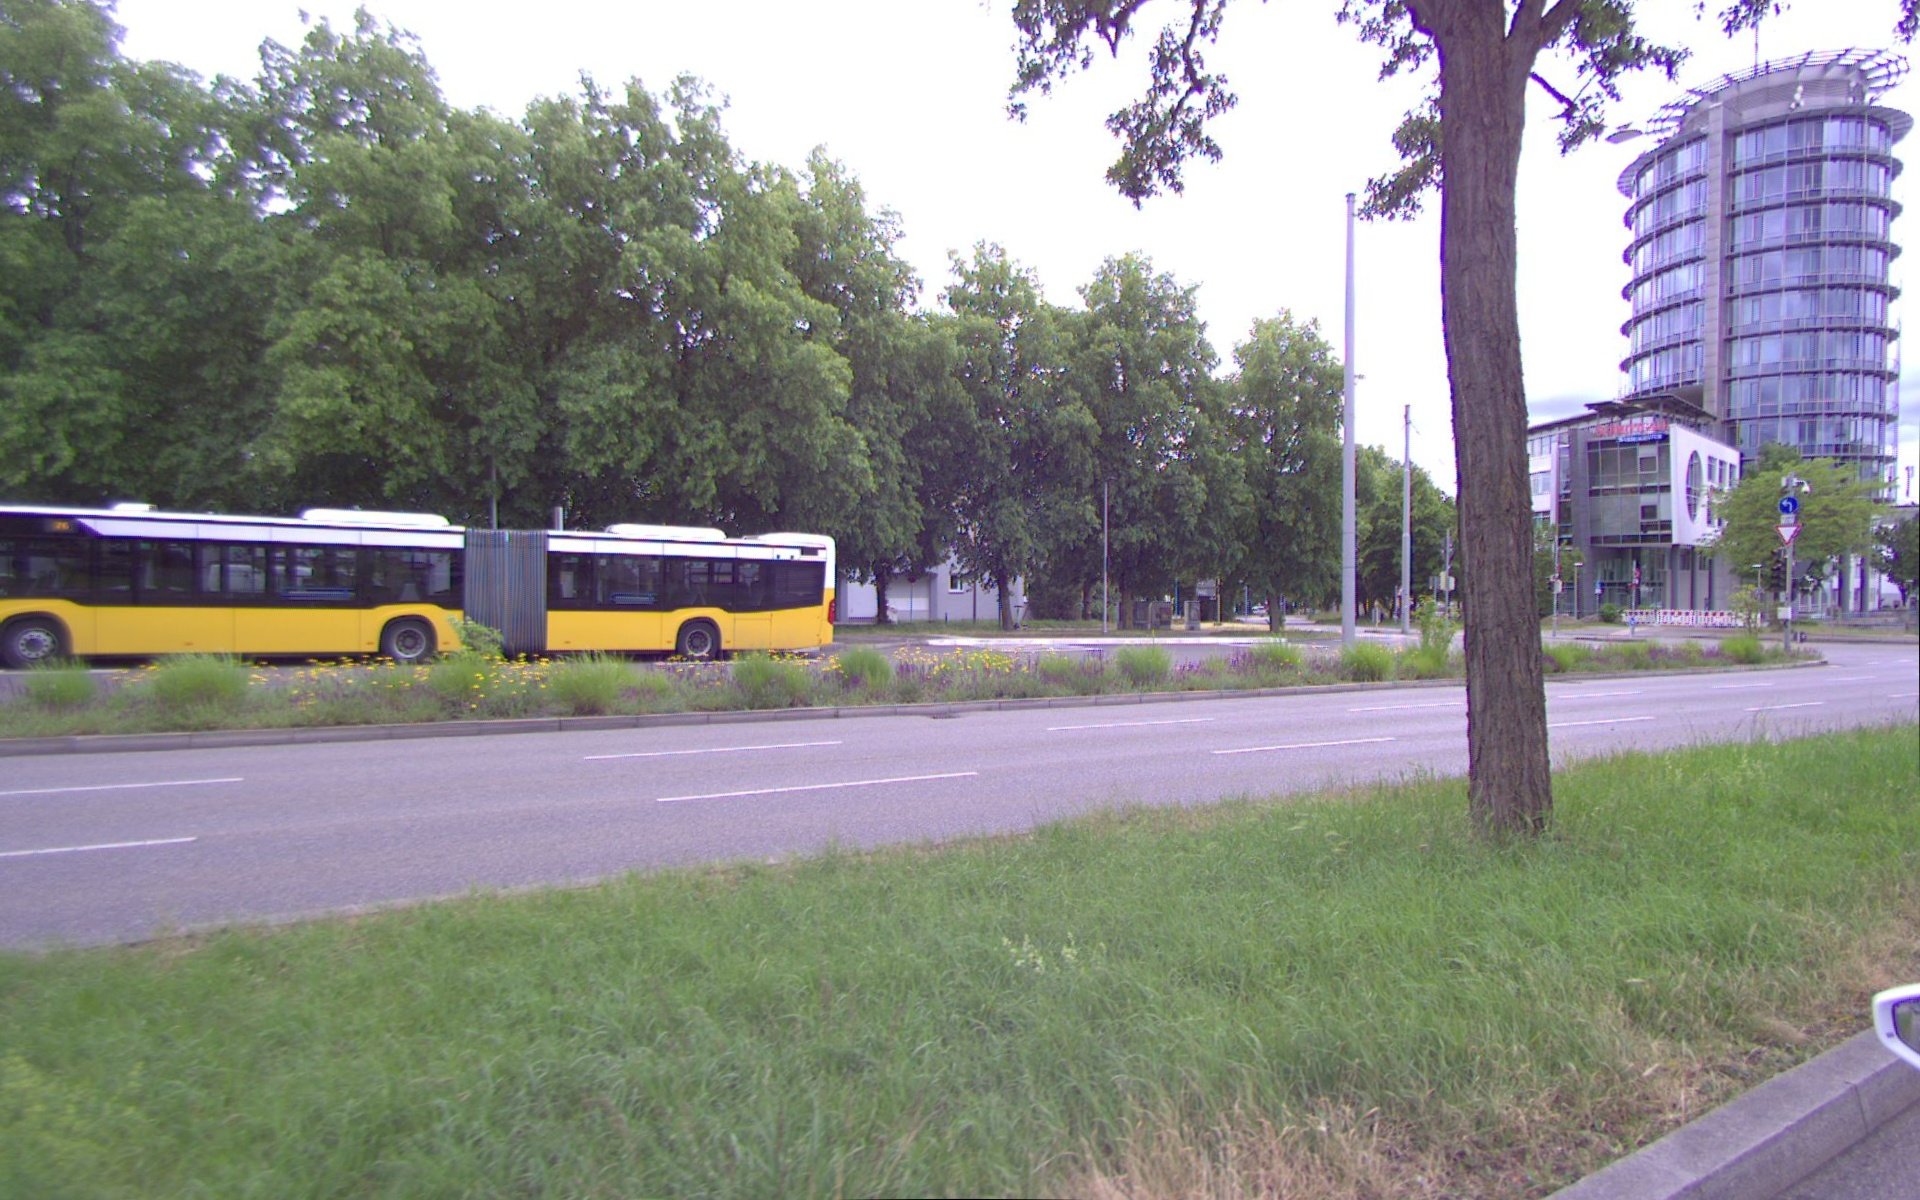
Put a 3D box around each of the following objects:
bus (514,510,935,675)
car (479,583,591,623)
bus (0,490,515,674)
[{"bbox_3d":[-5.686,-0.159,24.991,9.783,3.502,3.020,1,2,-27],"label":"bus"},{"bbox_3d":[-17.631,0.135,41.695,4.192,1.602,1.986,0,0,-27],"label":"car"},{"bbox_3d":[-14.851,-0.271,20.266,10.600,3.205,3.072,1,0,-28],"label":"bus"}]
